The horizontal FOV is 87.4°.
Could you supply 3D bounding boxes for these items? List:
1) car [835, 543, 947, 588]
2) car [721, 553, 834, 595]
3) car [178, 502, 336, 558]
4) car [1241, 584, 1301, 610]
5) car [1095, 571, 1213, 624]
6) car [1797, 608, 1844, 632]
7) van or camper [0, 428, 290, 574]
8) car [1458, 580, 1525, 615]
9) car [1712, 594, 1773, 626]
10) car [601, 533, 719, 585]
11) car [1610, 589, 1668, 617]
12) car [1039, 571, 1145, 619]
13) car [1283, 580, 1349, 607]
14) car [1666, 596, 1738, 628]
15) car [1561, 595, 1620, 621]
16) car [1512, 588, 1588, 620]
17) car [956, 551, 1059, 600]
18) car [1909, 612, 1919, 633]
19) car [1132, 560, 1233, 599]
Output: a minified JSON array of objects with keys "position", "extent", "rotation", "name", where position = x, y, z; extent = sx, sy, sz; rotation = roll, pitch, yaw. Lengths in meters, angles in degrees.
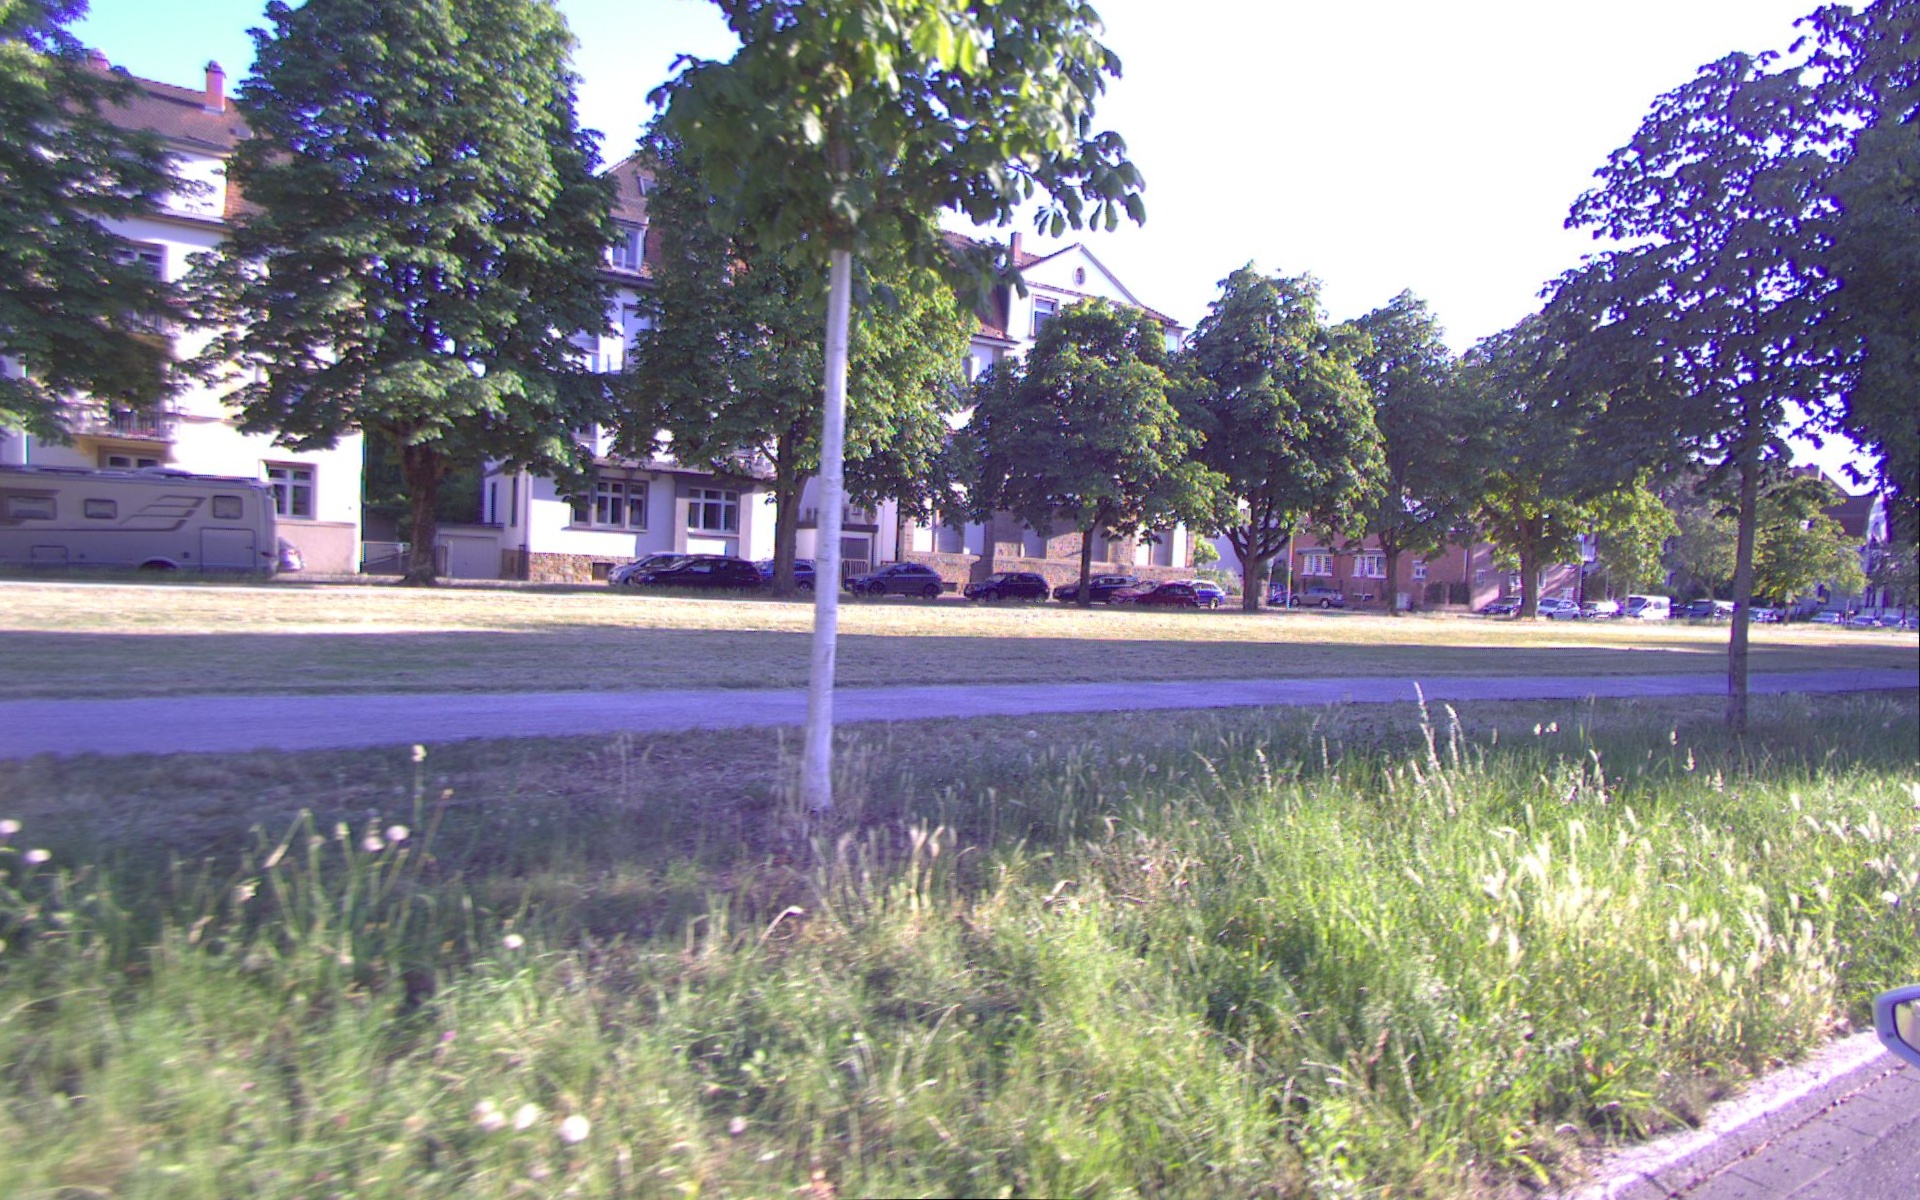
[{"position":[-2.972,-1.496,43.471],"extent":[4.380,1.674,1.982],"rotation":[2,2,-32],"name":"car"},{"position":[-7.447,-1.067,41.082],"extent":[4.118,1.448,1.985],"rotation":[2,3,-29],"name":"car"},{"position":[-22.375,-2.222,32.170],"extent":[3.954,1.484,1.983],"rotation":[2,3,-31],"name":"car"},{"position":[22.428,-0.209,72.540],"extent":[1.814,1.595,3.877],"rotation":[2,3,-30],"name":"car"},{"position":[8.493,-0.112,43.806],"extent":[4.816,2.041,1.985],"rotation":[2,2,-29],"name":"car"},{"position":[79.162,1.858,92.422],"extent":[3.953,2.040,2.022],"rotation":[3,0,-30],"name":"car"},{"position":[-22.055,-2.497,25.740],"extent":[7.804,3.152,3.238],"rotation":[2,2,-30],"name":"van or camper"},{"position":[34.786,-0.178,65.763],"extent":[4.317,2.041,1.748],"rotation":[2,3,-30],"name":"car"},{"position":[56.757,0.734,72.848],"extent":[3.953,2.041,1.984],"rotation":[2,3,-30],"name":"car"},{"position":[-11.484,-1.562,38.464],"extent":[3.951,1.758,1.985],"rotation":[2,3,-29],"name":"car"},{"position":[50.974,0.250,75.415],"extent":[4.356,1.862,1.808],"rotation":[2,3,-30],"name":"car"},{"position":[6.480,-0.238,49.149],"extent":[4.816,2.041,1.985],"rotation":[2,2,-29],"name":"car"},{"position":[24.378,-0.454,68.890],"extent":[1.842,1.506,3.969],"rotation":[2,3,-29],"name":"car"},{"position":[50.983,0.826,68.979],"extent":[5.183,1.967,1.984],"rotation":[2,3,-30],"name":"car"},{"position":[45.775,0.596,72.891],"extent":[4.254,1.645,1.748],"rotation":[2,3,-30],"name":"car"},{"position":[34.972,0.218,59.496],"extent":[4.597,1.661,1.810],"rotation":[2,3,-31],"name":"car"},{"position":[2.212,-1.130,46.654],"extent":[4.380,2.041,1.982],"rotation":[2,2,-32],"name":"car"},{"position":[88.855,2.172,91.690],"extent":[4.204,1.885,1.984],"rotation":[3,3,-29],"name":"car"},{"position":[11.559,-1.057,52.071],"extent":[4.946,1.773,1.985],"rotation":[2,3,-28],"name":"car"}]
